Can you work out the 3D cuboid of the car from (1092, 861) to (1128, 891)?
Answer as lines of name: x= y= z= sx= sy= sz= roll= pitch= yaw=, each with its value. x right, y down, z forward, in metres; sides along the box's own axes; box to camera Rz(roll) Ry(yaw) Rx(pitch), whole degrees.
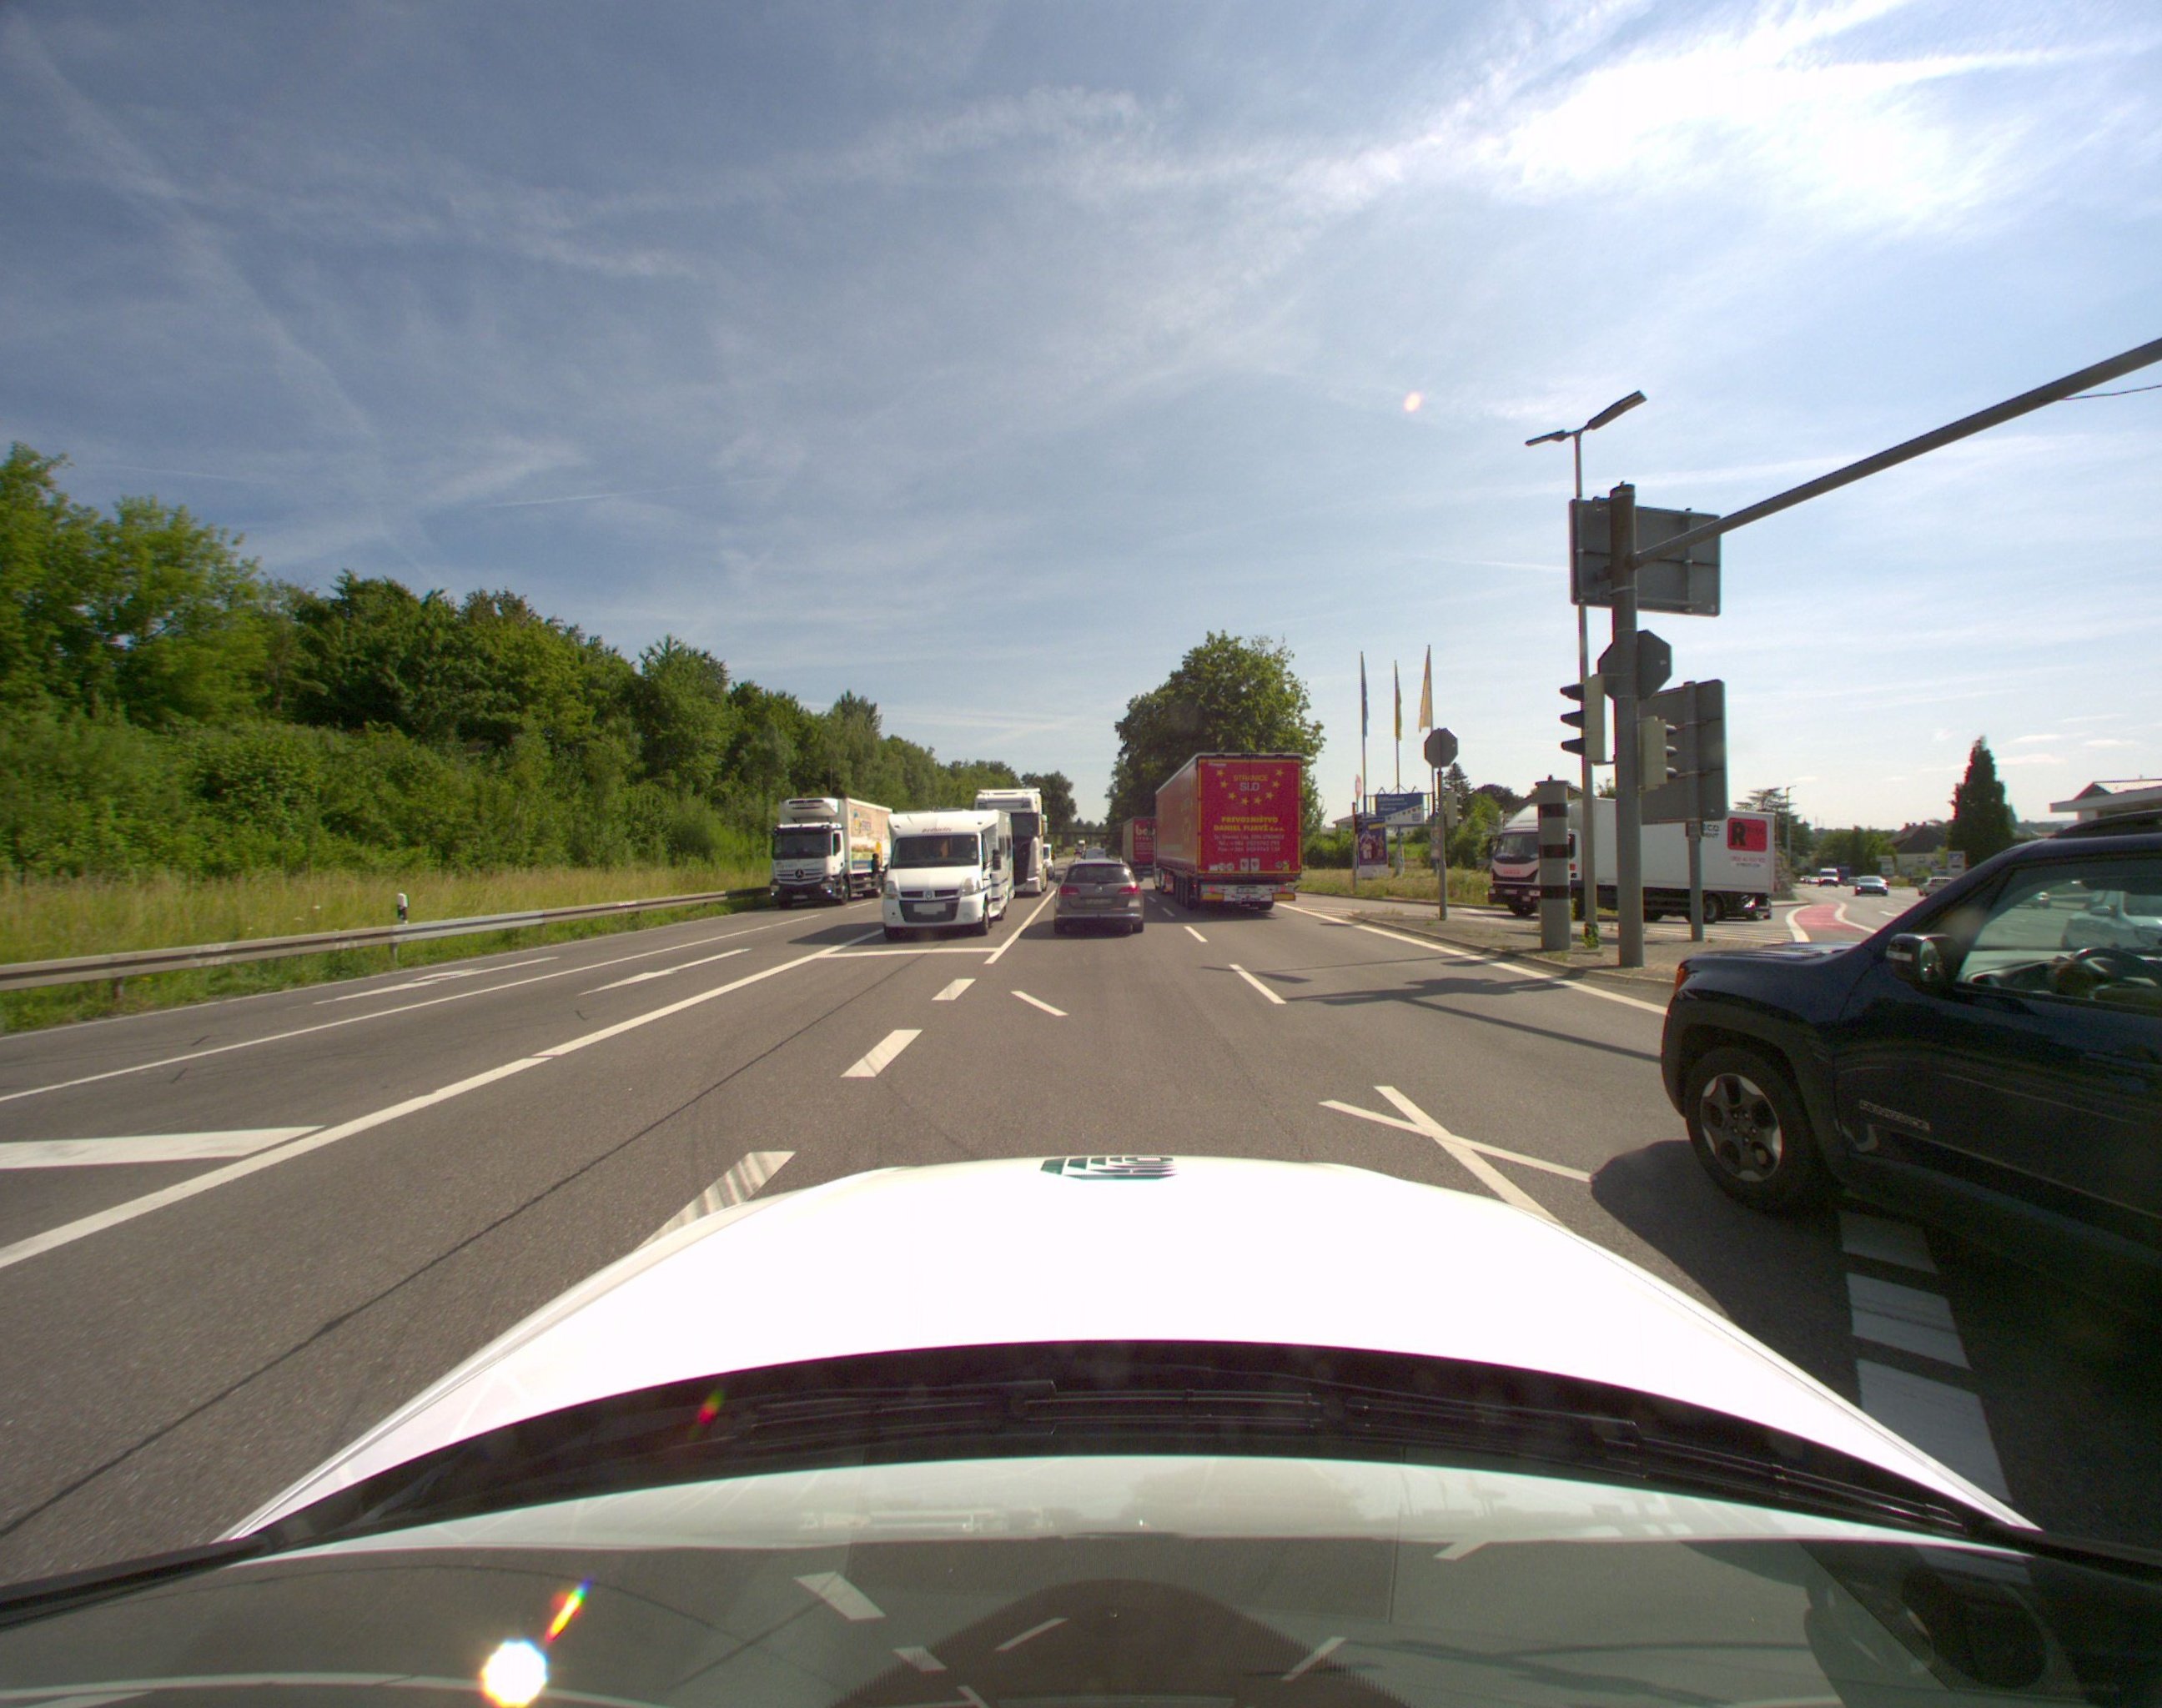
car: x=1.537 y=1.154 z=44.445 sx=1.765 sy=1.513 sz=3.999 roll=-2 pitch=0 yaw=0

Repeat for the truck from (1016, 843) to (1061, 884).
truck: x=-2.500 y=0.549 z=49.546 sx=2.219 sy=2.267 sz=6.500 roll=-2 pitch=0 yaw=1

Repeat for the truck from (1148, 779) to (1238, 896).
truck: x=4.360 y=-0.587 z=32.882 sx=2.860 sy=4.281 sz=5.839 roll=0 pitch=0 yaw=1

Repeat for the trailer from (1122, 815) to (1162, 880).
trailer: x=4.392 y=-0.380 z=61.065 sx=2.386 sy=4.243 sz=13.084 roll=-2 pitch=0 yaw=2

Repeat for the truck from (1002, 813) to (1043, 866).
truck: x=-4.097 y=-0.940 z=58.376 sx=2.336 sy=3.520 sz=6.696 roll=-2 pitch=0 yaw=0

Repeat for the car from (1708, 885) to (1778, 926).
car: x=26.159 y=1.989 z=32.136 sx=1.974 sy=1.460 sz=4.347 roll=-2 pitch=-3 yaw=40

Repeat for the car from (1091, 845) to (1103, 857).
car: x=2.874 y=-0.502 z=144.166 sx=1.987 sy=2.013 sz=3.999 roll=-2 pitch=0 yaw=0

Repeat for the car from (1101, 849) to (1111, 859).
car: x=5.047 y=0.059 z=165.677 sx=1.987 sy=2.013 sz=3.999 roll=-2 pitch=0 yaw=0

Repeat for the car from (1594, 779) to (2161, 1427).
car: x=3.620 y=0.608 z=2.347 sx=1.764 sy=1.654 sz=4.000 roll=-2 pitch=0 yaw=1

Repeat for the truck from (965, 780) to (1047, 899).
truck: x=-2.775 y=-0.493 z=31.797 sx=2.529 sy=4.088 sz=6.263 roll=-2 pitch=0 yaw=-1

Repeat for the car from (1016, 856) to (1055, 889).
car: x=-2.329 y=0.926 z=42.623 sx=1.705 sy=1.551 sz=4.109 roll=-2 pitch=0 yaw=0

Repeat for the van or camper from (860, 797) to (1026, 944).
van or camper: x=-2.764 y=0.322 z=18.374 sx=2.322 sy=2.600 sz=6.980 roll=-2 pitch=0 yaw=1

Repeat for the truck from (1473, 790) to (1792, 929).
truck: x=17.363 y=0.301 z=25.604 sx=9.690 sy=3.628 sz=2.752 roll=3 pitch=-2 yaw=-16

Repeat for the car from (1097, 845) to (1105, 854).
car: x=4.979 y=-1.096 z=202.244 sx=1.987 sy=2.013 sz=3.999 roll=-2 pitch=0 yaw=0

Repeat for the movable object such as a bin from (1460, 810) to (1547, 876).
movable object such as a bin: x=22.638 y=-0.574 z=43.471 sx=2.863 sy=3.208 sz=6.748 roll=-3 pitch=-1 yaw=37

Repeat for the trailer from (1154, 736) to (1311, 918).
trailer: x=4.221 y=-0.612 z=26.108 sx=2.829 sy=4.365 sz=13.169 roll=0 pitch=0 yaw=1

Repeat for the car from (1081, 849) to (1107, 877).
car: x=0.917 y=0.628 z=59.684 sx=1.765 sy=1.936 sz=3.977 roll=-2 pitch=0 yaw=0

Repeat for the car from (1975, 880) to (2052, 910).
car: x=53.787 y=2.317 z=47.057 sx=1.974 sy=1.575 sz=4.025 roll=1 pitch=0 yaw=34

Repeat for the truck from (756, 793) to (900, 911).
truck: x=-9.892 y=-0.042 z=33.193 sx=2.720 sy=3.999 sz=9.618 roll=-2 pitch=0 yaw=0

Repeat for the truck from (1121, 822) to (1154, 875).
truck: x=4.630 y=-0.428 z=67.354 sx=2.397 sy=4.128 sz=5.524 roll=-2 pitch=-1 yaw=2

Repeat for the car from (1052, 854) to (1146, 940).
car: x=0.342 y=0.809 z=17.096 sx=1.686 sy=1.513 sz=3.999 roll=-2 pitch=0 yaw=0
